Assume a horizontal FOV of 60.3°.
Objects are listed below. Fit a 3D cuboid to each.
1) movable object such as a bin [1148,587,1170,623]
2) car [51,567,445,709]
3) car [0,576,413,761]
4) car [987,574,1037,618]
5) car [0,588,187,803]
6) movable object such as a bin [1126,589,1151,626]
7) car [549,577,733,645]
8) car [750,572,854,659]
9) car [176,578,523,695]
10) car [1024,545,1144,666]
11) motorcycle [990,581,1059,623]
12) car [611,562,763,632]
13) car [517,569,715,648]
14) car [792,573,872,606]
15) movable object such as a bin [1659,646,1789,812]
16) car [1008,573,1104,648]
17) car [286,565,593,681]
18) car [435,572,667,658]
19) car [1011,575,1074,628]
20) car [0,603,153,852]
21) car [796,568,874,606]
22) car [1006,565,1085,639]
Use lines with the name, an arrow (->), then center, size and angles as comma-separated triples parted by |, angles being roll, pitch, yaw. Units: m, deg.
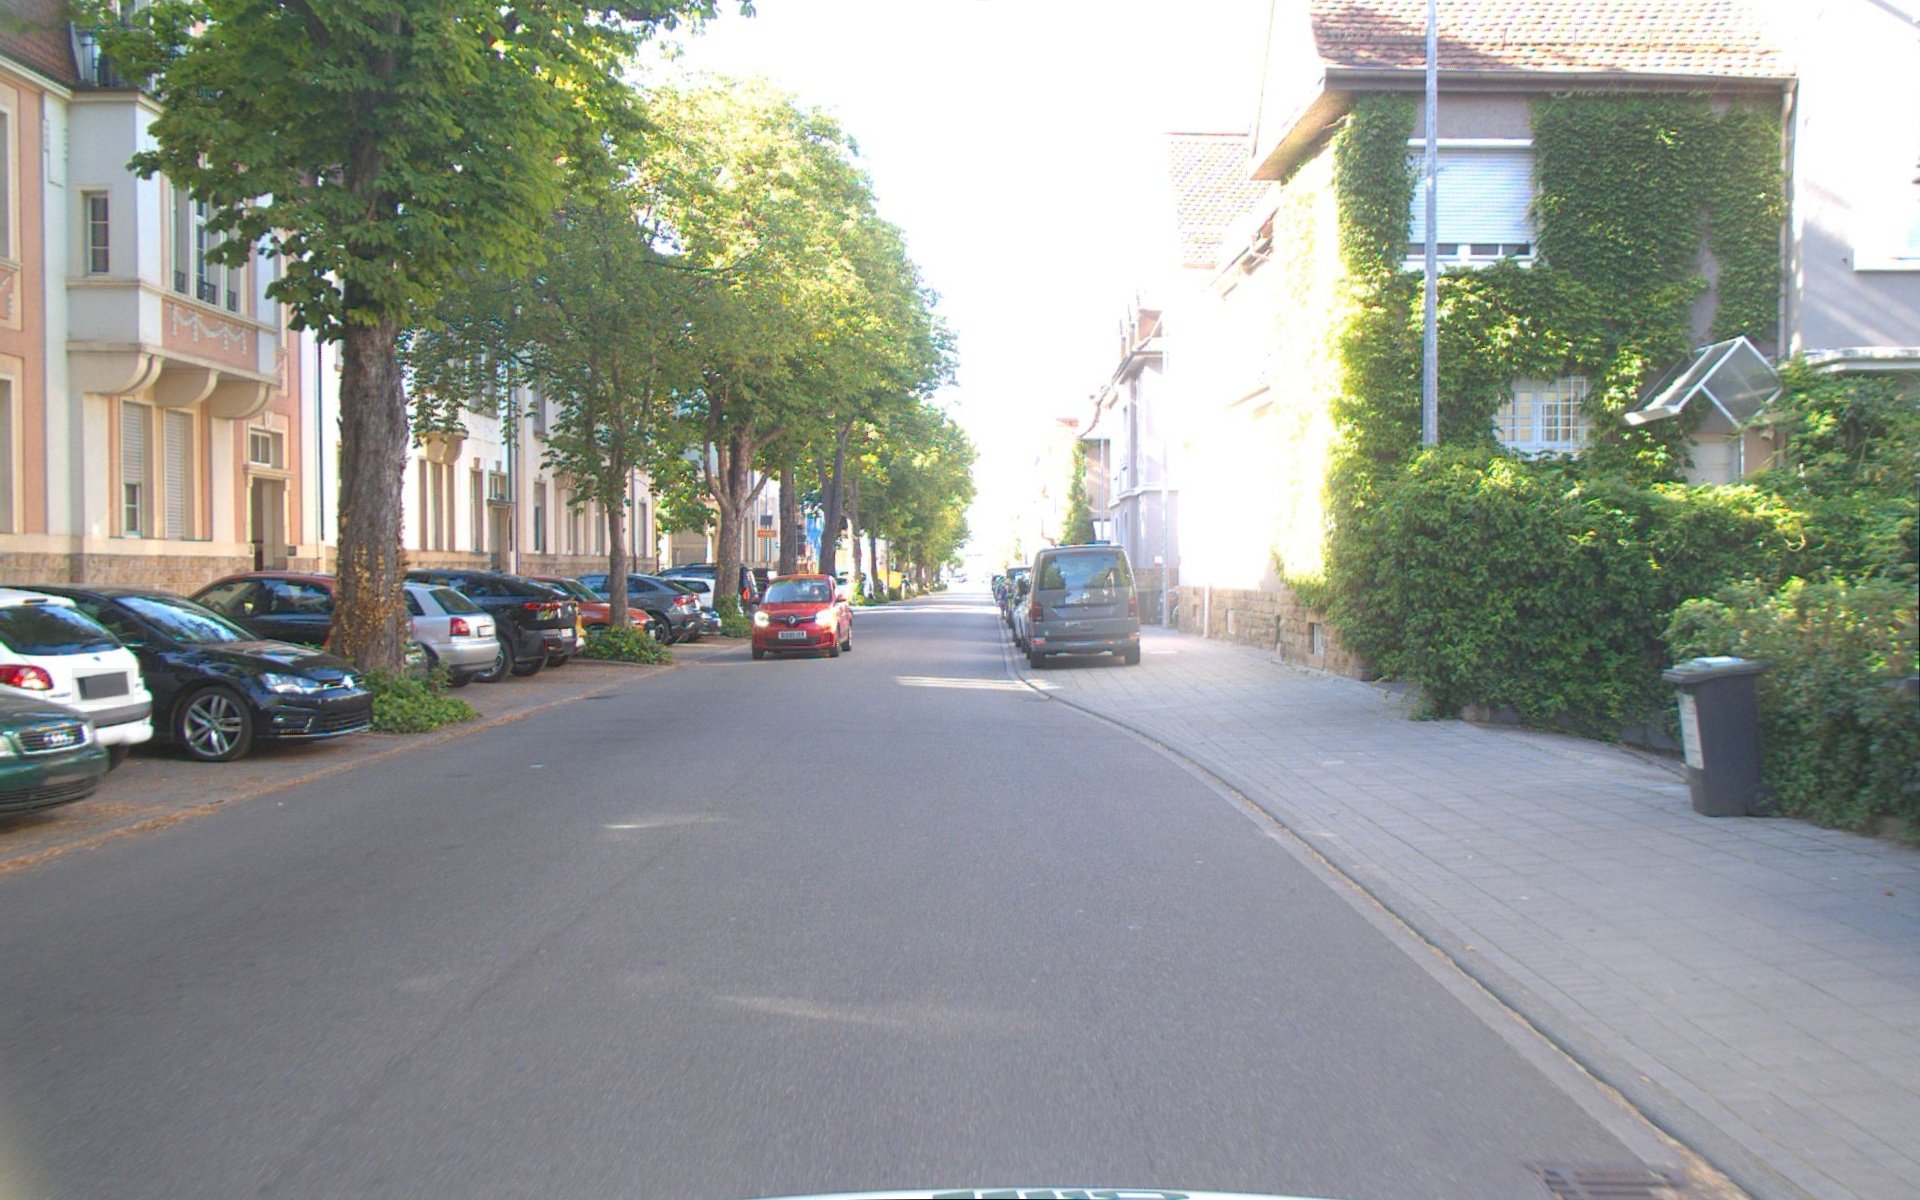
movable object such as a bin -> 5.998, 0.134, 49.751 | 0.557, 1.058, 0.618 | -1, 1, -2
car -> -8.373, 0.423, 19.686 | 3.904, 1.534, 1.723 | -1, 0, 2
car -> -7.137, 0.557, 14.729 | 3.904, 1.508, 1.786 | 1, 0, 2
car -> 1.976, -0.174, 63.476 | 1.665, 1.566, 4.155 | -3, 1, -1
car -> -7.849, 0.649, 12.310 | 3.362, 1.477, 1.704 | 0, 0, 3
movable object such as a bin -> 5.355, 0.219, 49.736 | 0.634, 1.058, 0.828 | -1, 1, -2
car -> -7.393, 0.233, 38.517 | 3.820, 1.471, 1.860 | 1, 1, 5
car -> -2.989, 0.254, 31.917 | 1.607, 1.534, 3.702 | -1, 1, 0
car -> -8.058, 0.456, 22.078 | 3.904, 1.428, 1.830 | 1, 0, 2
car -> 2.096, 0.052, 29.111 | 1.826, 1.949, 4.783 | 0, 1, 1
motorcycle -> 2.169, 0.060, 55.688 | 2.173, 1.362, 0.911 | 1, 2, -33
car -> -7.504, -0.079, 45.765 | 3.898, 1.888, 1.829 | 0, 0, -1
car -> -7.477, 0.167, 36.218 | 3.905, 1.620, 1.859 | 1, 1, 0
car -> -6.403, -0.522, 83.214 | 3.907, 1.489, 1.797 | 2, 0, -3
movable object such as a bin -> 4.673, 0.776, 10.138 | 0.493, 0.931, 0.573 | -4, 0, 3
car -> 1.990, 0.172, 35.302 | 1.645, 1.483, 4.437 | -1, 1, -2
car -> -7.635, 0.319, 24.520 | 3.904, 1.594, 1.864 | 1, 0, 2
car -> -7.630, 0.268, 31.134 | 3.905, 1.541, 1.747 | 0, 0, 0
car -> 2.498, 0.011, 50.939 | 1.816, 1.519, 4.609 | -2, 1, 2
car -> -7.362, 0.697, 9.985 | 4.125, 1.372, 1.703 | 0, 0, 0
car -> -6.426, -0.666, 85.526 | 3.907, 1.791, 1.797 | 2, 0, -3
car -> 2.055, 0.040, 40.457 | 1.752, 1.628, 4.001 | -3, 0, 2
